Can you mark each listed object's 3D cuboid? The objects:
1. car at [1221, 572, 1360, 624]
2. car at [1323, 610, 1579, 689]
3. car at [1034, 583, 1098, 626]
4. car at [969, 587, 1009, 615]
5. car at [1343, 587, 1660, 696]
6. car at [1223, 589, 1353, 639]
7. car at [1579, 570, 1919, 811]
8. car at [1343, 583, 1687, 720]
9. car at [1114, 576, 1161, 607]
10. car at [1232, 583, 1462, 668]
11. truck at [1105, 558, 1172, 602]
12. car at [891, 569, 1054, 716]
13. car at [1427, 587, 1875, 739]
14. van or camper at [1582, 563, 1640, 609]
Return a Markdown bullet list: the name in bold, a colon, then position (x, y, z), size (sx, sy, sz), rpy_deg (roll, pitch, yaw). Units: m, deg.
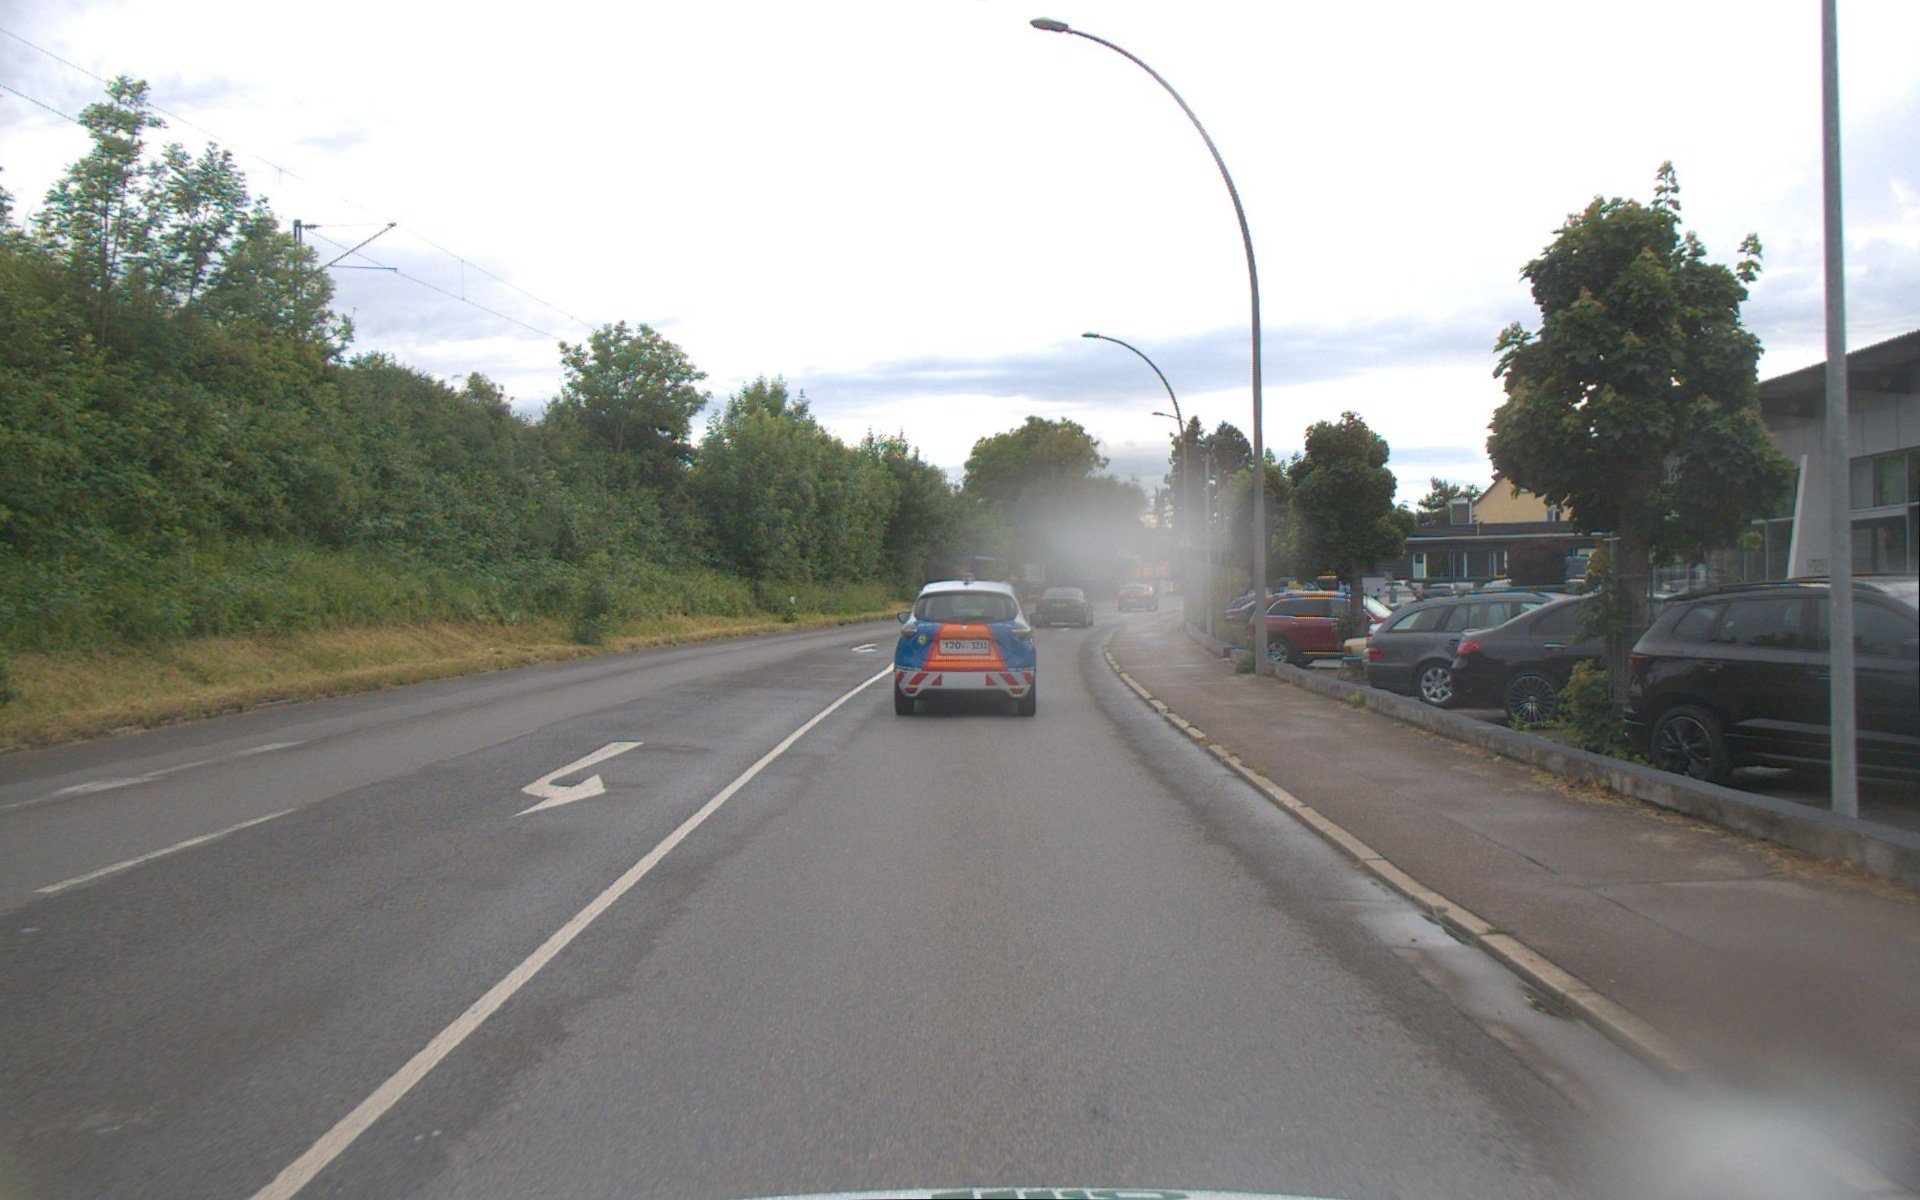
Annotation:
- **car**: position (10.129, -0.046, 50.954), size (4.021, 1.394, 2.001), rpy_deg (2, -1, 6)
- **car**: position (8.843, 0.871, 29.894), size (4.146, 1.324, 1.730), rpy_deg (0, -2, 32)
- **car**: position (3.767, 0.185, 58.312), size (1.684, 1.400, 3.937), rpy_deg (2, -1, 11)
- **car**: position (1.715, 0.088, 96.579), size (1.951, 1.499, 4.703), rpy_deg (2, -1, 5)
- **car**: position (7.971, 0.608, 24.488), size (4.091, 1.493, 1.830), rpy_deg (-1, -1, 36)
- **car**: position (10.591, 0.466, 53.609), size (3.903, 1.433, 1.594), rpy_deg (2, -1, 4)
- **car**: position (7.063, 0.603, 12.366), size (1.815, 1.636, 4.508), rpy_deg (-1, 1, -28)
- **car**: position (7.345, 0.643, 22.040), size (3.924, 1.583, 1.890), rpy_deg (2, -1, 39)
- **car**: position (9.515, -0.442, 88.342), size (1.951, 1.445, 4.003), rpy_deg (2, -1, 13)
- **car**: position (8.628, 0.556, 37.014), size (4.598, 1.691, 1.995), rpy_deg (2, -1, 32)
- **truck**: position (15.691, -1.686, 144.617), size (2.646, 3.471, 9.058), rpy_deg (2, -1, 28)
- **car**: position (0.121, 0.464, 20.764), size (1.850, 1.660, 3.999), rpy_deg (0, 1, -1)
- **car**: position (7.658, 0.613, 18.473), size (4.351, 1.505, 1.928), rpy_deg (0, 0, 34)
- **van or camper**: position (31.426, -0.655, 79.738), size (1.955, 1.972, 5.422), rpy_deg (2, -1, 28)
